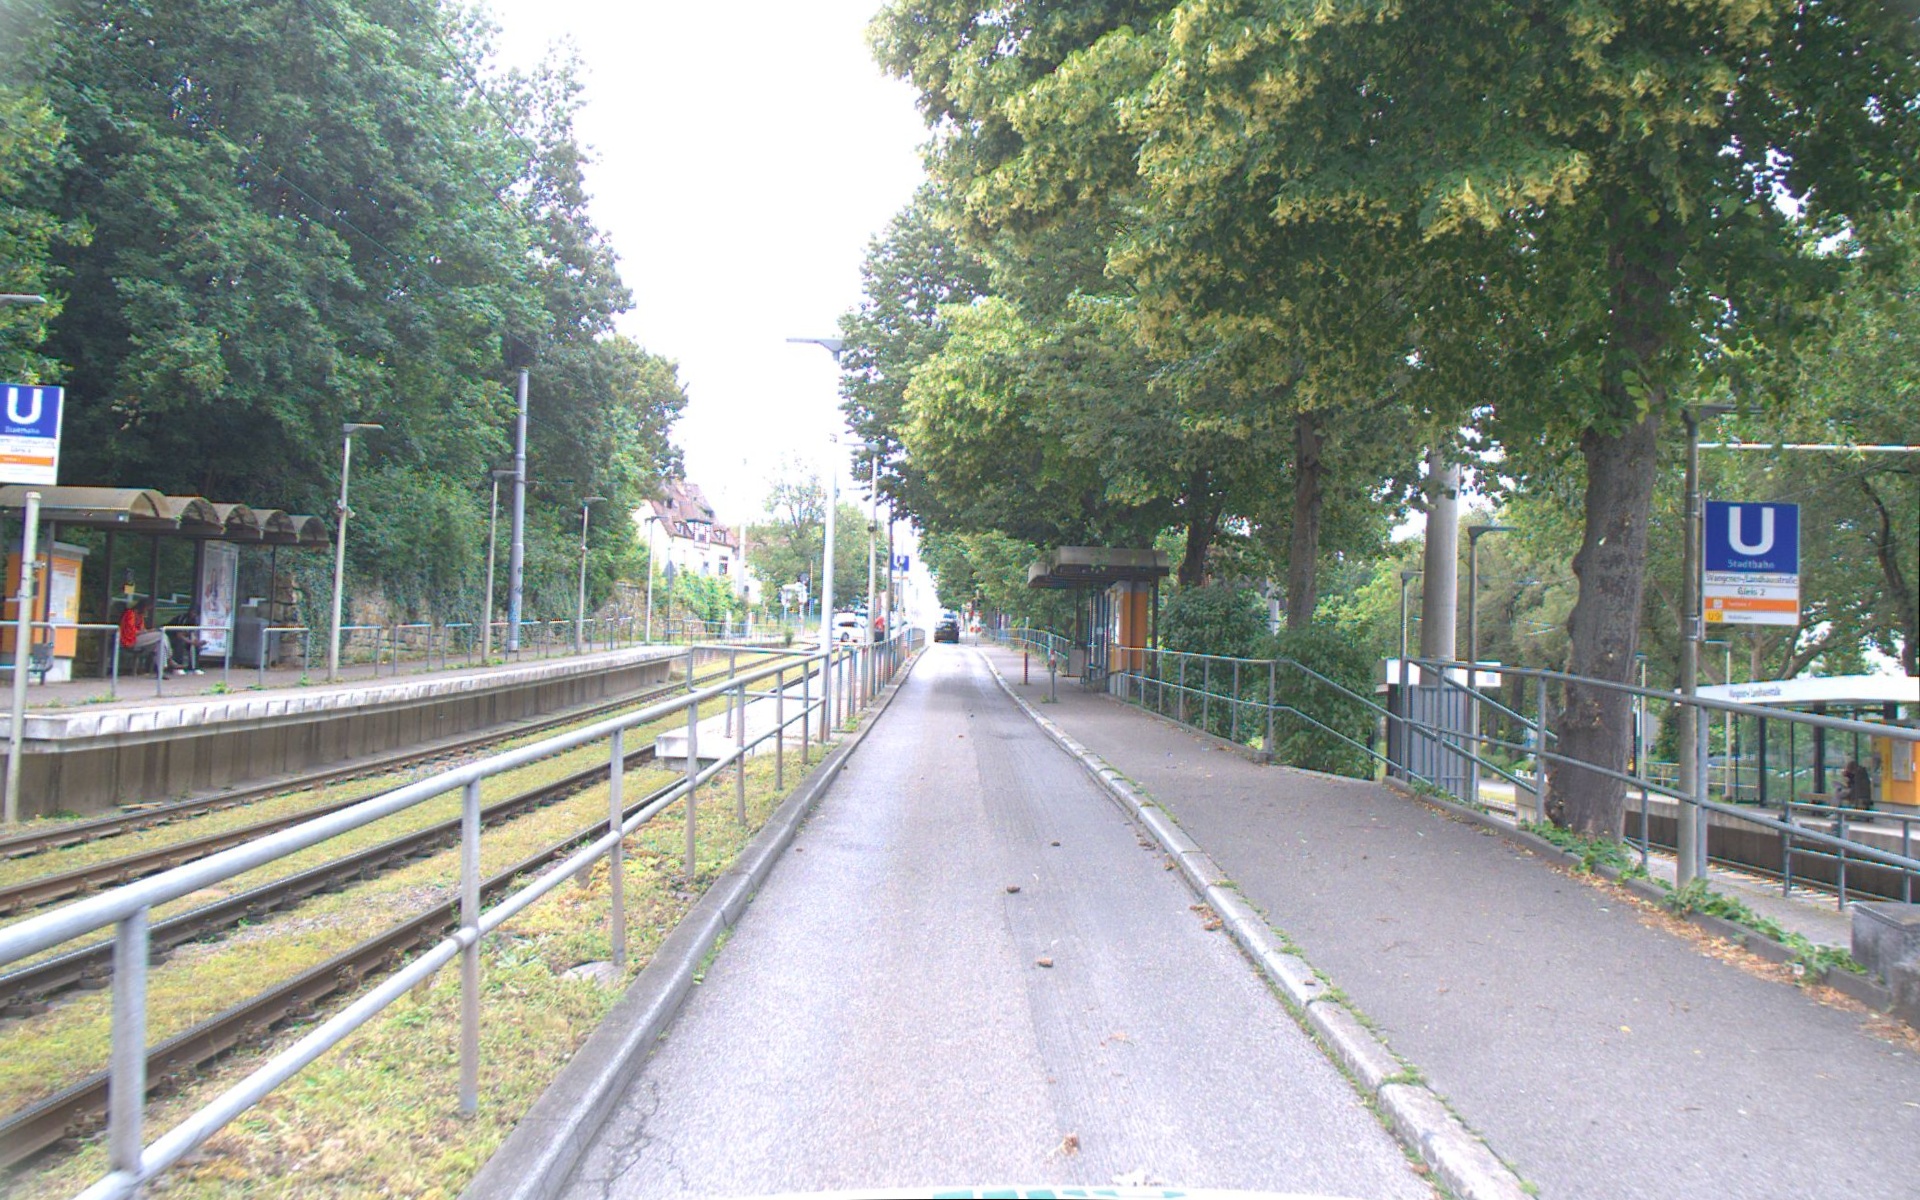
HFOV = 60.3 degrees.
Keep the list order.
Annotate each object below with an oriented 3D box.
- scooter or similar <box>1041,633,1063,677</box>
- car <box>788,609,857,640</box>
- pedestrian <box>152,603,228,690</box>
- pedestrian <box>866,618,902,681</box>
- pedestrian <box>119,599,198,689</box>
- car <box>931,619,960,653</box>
[{"bbox_3d":[2.558,1.545,46.199,0.336,1.177,1.145,5,-4,-6],"label":"scooter or similar"},{"bbox_3d":[-9.174,1.622,110.111,4.074,1.687,1.975,7,-5,-36],"label":"car"},{"bbox_3d":[-12.723,0.771,27.352,0.756,1.349,0.787,4,-4,-1],"label":"pedestrian"},{"bbox_3d":[-1.829,1.190,39.746,0.727,1.434,0.747,4,0,-1],"label":"pedestrian"},{"bbox_3d":[-12.730,0.700,26.290,0.756,1.349,0.787,4,-2,-1],"label":"pedestrian"},{"bbox_3d":[-1.079,2.704,122.818,1.953,2.183,3.998,5,-4,-1],"label":"car"}]
